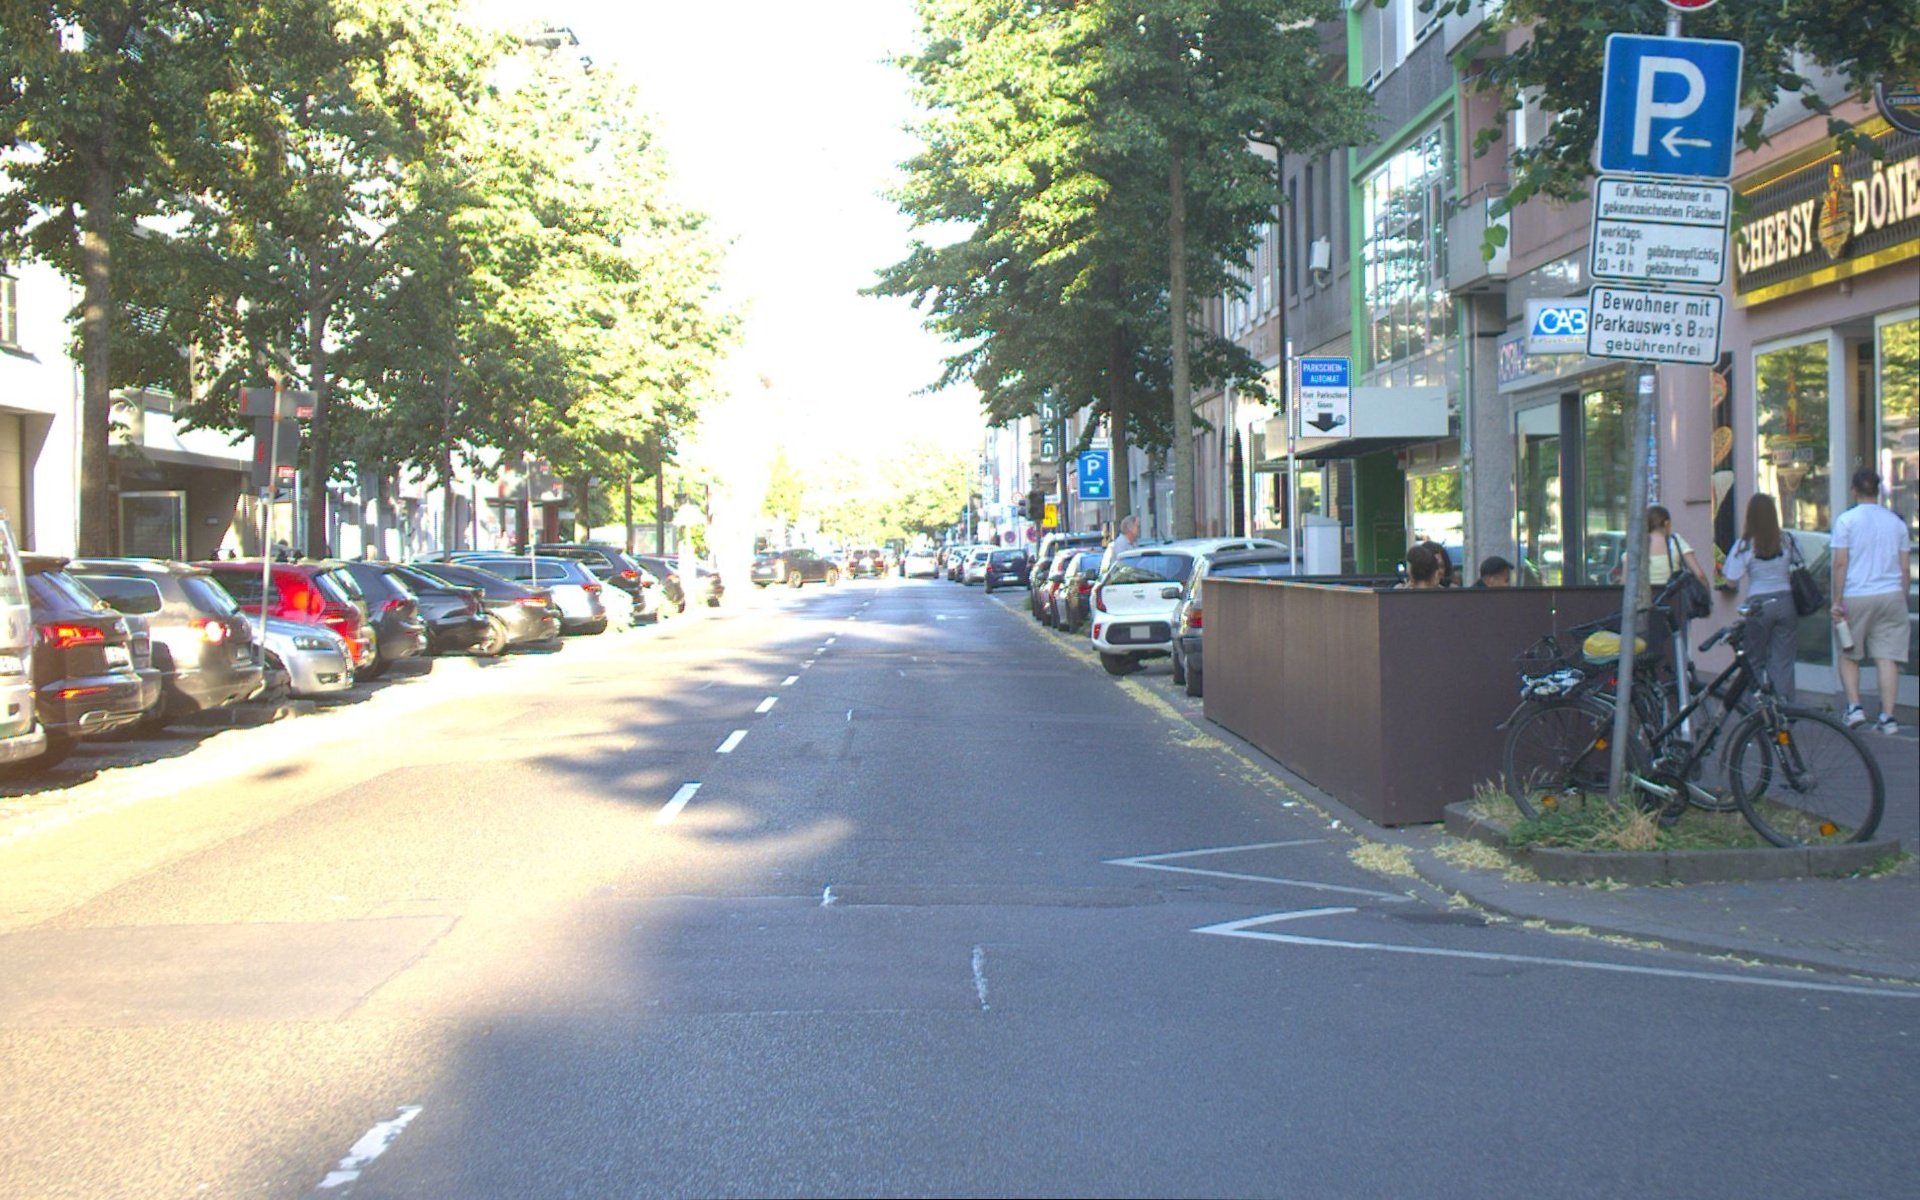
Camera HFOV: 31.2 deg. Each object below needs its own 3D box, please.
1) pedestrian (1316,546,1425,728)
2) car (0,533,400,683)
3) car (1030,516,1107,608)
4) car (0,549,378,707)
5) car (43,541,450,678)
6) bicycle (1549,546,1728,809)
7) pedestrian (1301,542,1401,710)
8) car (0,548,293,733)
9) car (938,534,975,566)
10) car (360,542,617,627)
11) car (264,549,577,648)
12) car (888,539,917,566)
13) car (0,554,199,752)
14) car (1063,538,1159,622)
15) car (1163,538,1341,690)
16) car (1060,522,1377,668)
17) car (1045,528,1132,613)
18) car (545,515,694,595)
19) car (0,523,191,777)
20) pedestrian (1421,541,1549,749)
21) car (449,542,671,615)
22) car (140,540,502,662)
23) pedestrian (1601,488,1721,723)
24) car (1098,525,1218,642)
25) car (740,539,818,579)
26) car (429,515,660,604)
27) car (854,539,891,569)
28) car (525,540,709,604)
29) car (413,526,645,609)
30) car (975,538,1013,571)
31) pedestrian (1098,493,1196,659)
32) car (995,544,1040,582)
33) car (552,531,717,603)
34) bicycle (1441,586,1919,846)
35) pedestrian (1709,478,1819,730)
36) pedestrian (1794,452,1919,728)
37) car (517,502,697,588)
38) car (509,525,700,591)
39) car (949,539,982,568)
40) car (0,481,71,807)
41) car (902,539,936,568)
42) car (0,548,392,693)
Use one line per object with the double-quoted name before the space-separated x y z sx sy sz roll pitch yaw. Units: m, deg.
"pedestrian" 3.175 0.278 26.637 0.726 1.373 0.781 -1 1 0
"car" -8.684 0.068 38.733 4.442 1.633 1.859 0 1 0
"car" 2.247 -0.807 71.806 1.513 1.858 4.235 -1 1 1
"car" -8.079 0.256 33.674 4.442 1.479 1.809 0 1 0
"car" -8.447 0.094 40.965 4.442 1.562 1.919 0 1 0
"bicycle" 3.304 0.341 16.646 0.598 1.173 1.844 0 1 19
"pedestrian" 3.285 0.208 28.943 0.726 1.373 0.781 -1 1 0
"car" -8.054 0.325 29.104 4.442 1.501 1.845 0 1 0
"car" -0.160 -2.522 172.113 1.752 1.535 3.304 -1 1 1
"car" -8.622 -0.299 63.157 4.442 1.517 1.919 0 1 0
"car" -8.151 -0.039 52.201 4.442 1.443 1.919 0 1 0
"car" -3.358 -2.773 199.759 1.570 1.500 3.304 -1 1 1
"car" -8.328 0.395 26.658 4.442 1.462 1.780 0 1 0
"car" 2.614 -0.365 59.988 1.513 1.401 3.837 -1 1 0
"car" 2.906 0.100 34.800 1.543 1.428 3.678 -1 1 1
"car" 3.045 -0.096 39.981 1.674 1.583 3.814 1 2 42
"car" 2.408 -0.579 64.985 1.513 1.556 3.514 -1 1 0
"car" -10.577 -1.418 107.007 4.442 2.426 1.919 -1 1 0
"car" -7.905 0.325 24.060 4.571 1.692 2.060 0 1 0
"pedestrian" 3.555 0.295 23.326 0.726 1.373 0.781 -1 1 0
"car" -8.428 -0.465 72.693 4.442 1.494 1.919 0 1 0
"car" -8.437 -0.001 45.678 4.442 1.562 1.919 0 1 0
"pedestrian" 4.939 0.030 24.209 0.797 1.620 0.912 -1 1 12
"car" 2.741 -0.256 48.095 1.513 1.572 3.218 -1 1 1
"car" -7.332 -1.676 139.547 1.929 1.566 3.300 0 1 22
"car" -8.375 -0.833 69.567 4.442 1.753 1.919 0 1 0
"car" -4.563 -2.420 179.751 1.752 1.535 3.304 -1 1 1
"car" -8.609 -0.710 86.607 4.442 1.573 1.919 0 1 0
"car" -8.429 -0.650 67.467 4.304 1.592 1.919 0 1 0
"car" 1.354 -1.822 137.626 1.513 1.259 3.304 -1 1 1
"pedestrian" 2.193 -0.291 40.408 0.916 1.919 1.018 0 1 -10
"car" 1.992 -1.300 119.366 1.513 1.271 3.304 -1 1 1
"car" -9.130 -0.939 96.769 4.442 1.953 1.919 -1 1 0
"bicycle" 3.178 0.483 15.188 1.957 1.070 0.704 0 2 31
"pedestrian" 5.462 0.014 23.394 0.631 1.674 0.891 -1 1 8
"pedestrian" 5.977 -0.075 22.933 0.698 1.798 0.891 -1 1 8
"car" -9.111 -1.428 88.912 4.442 2.192 1.919 0 1 0
"car" -8.632 -1.034 83.778 4.442 1.573 1.919 0 1 0
"car" 0.263 -2.174 160.393 1.513 1.294 3.304 -1 1 1
"car" -8.064 0.261 21.347 4.571 1.955 1.991 0 1 -1
"car" -2.175 -2.509 184.684 1.721 1.470 3.304 -1 1 1
"car" -8.325 0.195 35.979 4.442 1.453 1.859 0 1 0
